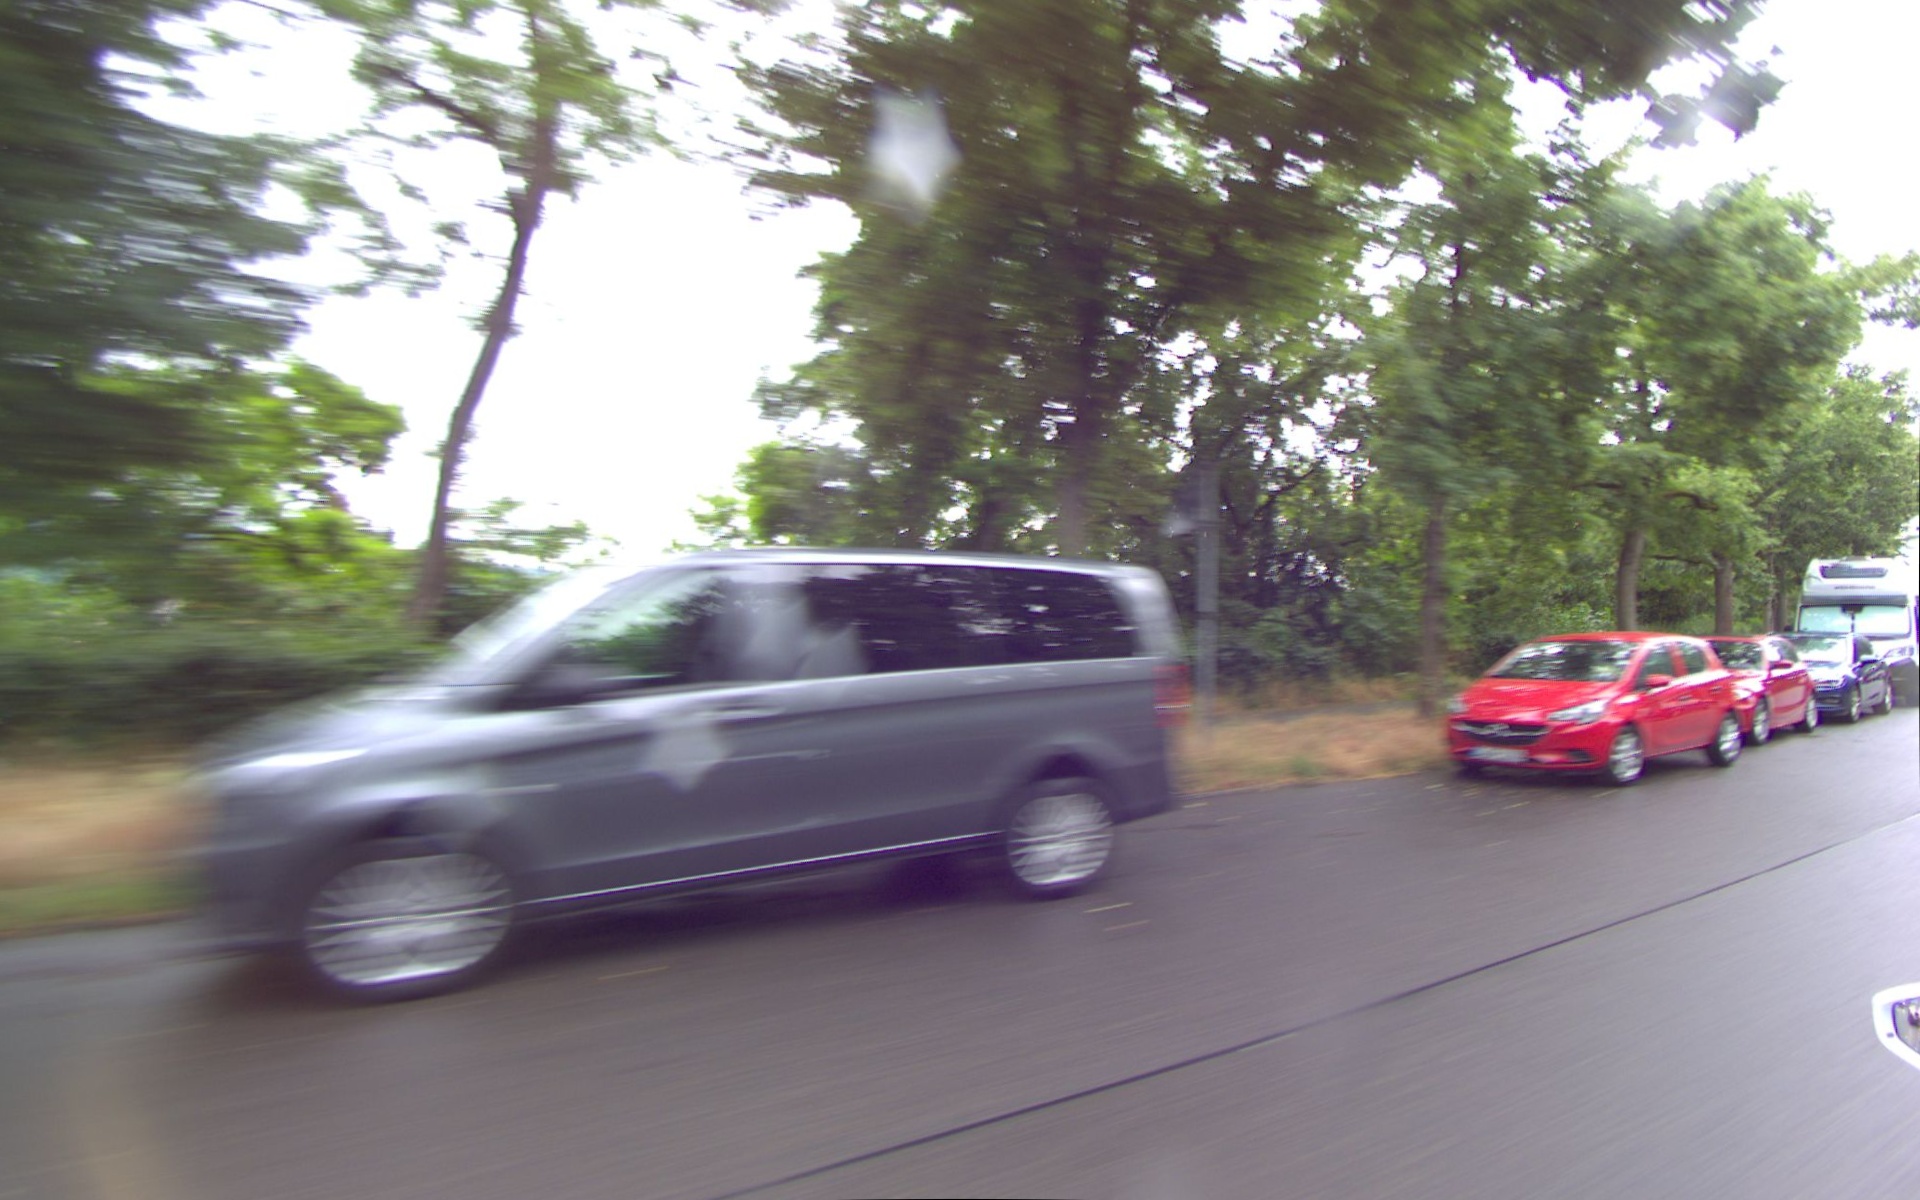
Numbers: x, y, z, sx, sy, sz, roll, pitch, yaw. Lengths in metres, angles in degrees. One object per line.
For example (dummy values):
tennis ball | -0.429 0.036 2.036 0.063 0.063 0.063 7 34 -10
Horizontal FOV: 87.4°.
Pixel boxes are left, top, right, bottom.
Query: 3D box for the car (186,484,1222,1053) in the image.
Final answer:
car | -1.049 0.638 5.629 4.942 1.994 1.945 1 -2 -30

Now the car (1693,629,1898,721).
car | 14.867 1.251 17.819 4.170 1.427 1.940 1 -3 -38

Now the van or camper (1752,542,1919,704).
van or camper | 19.484 0.548 22.242 2.479 3.066 6.524 -2 -3 43

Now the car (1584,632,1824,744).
car | 10.938 1.198 14.722 3.512 1.427 1.940 1 -3 -38

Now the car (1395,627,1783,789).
car | 7.155 1.066 11.316 4.525 1.480 1.944 1 -3 -32

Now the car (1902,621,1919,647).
car | 55.261 1.971 57.513 1.862 1.421 4.232 1 -1 43
